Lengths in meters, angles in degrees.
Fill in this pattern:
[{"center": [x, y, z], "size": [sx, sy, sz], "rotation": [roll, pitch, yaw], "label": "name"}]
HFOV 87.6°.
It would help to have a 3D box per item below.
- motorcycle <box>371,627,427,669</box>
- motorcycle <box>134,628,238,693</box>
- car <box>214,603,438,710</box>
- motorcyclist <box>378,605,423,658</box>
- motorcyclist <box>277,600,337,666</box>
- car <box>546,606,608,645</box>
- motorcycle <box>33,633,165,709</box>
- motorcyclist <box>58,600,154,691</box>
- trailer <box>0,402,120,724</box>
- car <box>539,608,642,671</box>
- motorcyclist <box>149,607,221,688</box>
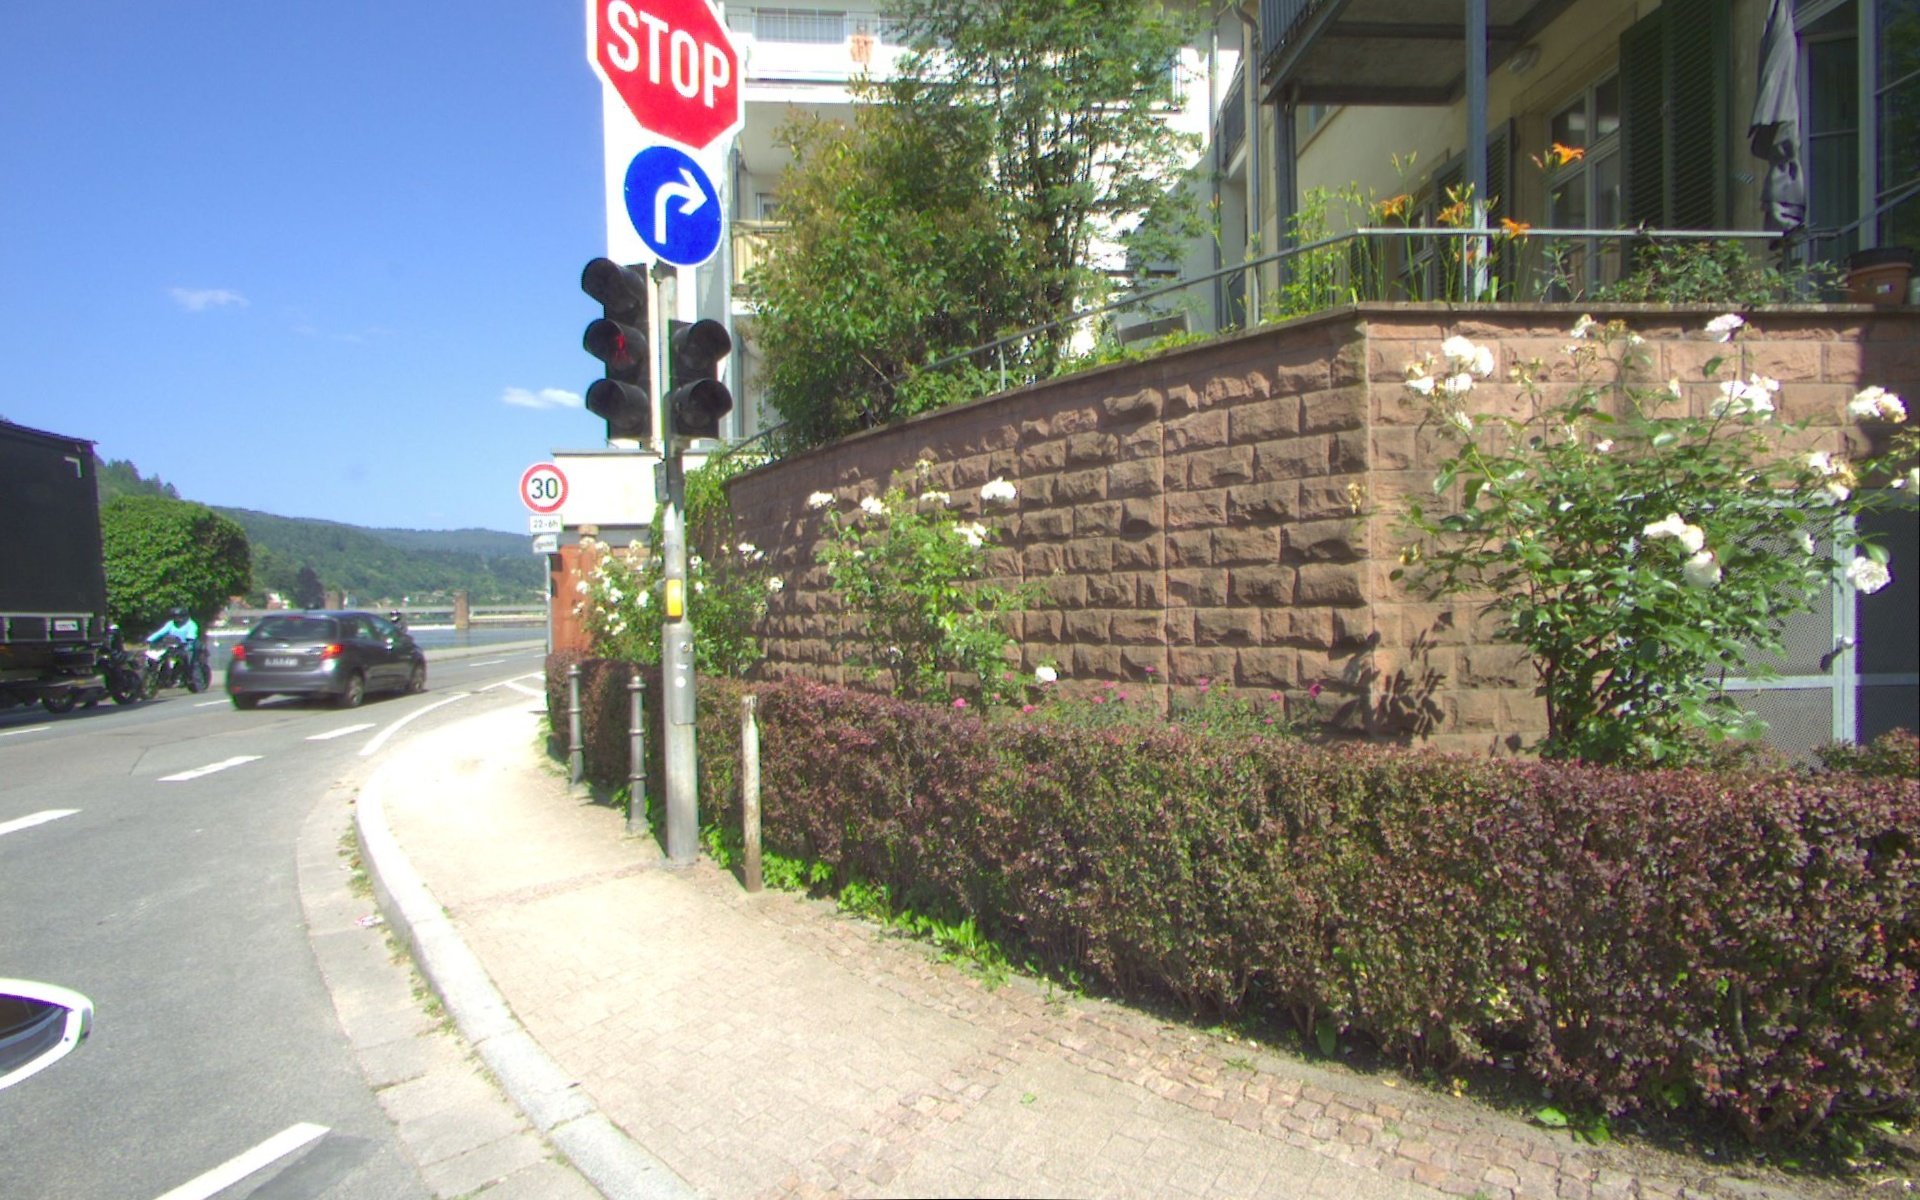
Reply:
[{"center": [-14.865, 1.253, 26.591], "size": [0.646, 1.038, 1.814], "rotation": [-1, 0, -8], "label": "motorcycle"}, {"center": [-15.298, 1.169, 19.865], "size": [0.623, 1.138, 2.092], "rotation": [-3, 0, -8], "label": "motorcycle"}, {"center": [-10.255, 0.841, 16.557], "size": [1.695, 1.518, 3.878], "rotation": [-1, 0, -9], "label": "car"}, {"center": [-14.856, 0.823, 26.604], "size": [0.706, 1.384, 0.936], "rotation": [-1, 0, -8], "label": "motorcyclist"}, {"center": [-14.032, 0.705, 21.537], "size": [0.774, 1.384, 0.800], "rotation": [-1, 0, -8], "label": "motorcyclist"}, {"center": [-17.285, 1.120, 45.384], "size": [1.739, 1.691, 3.773], "rotation": [0, 0, -6], "label": "car"}, {"center": [-14.627, 1.173, 17.090], "size": [0.623, 1.138, 2.092], "rotation": [-3, 0, -8], "label": "motorcycle"}, {"center": [-14.627, 0.766, 17.181], "size": [0.766, 1.479, 0.991], "rotation": [-3, 0, -8], "label": "motorcyclist"}, {"center": [-13.127, -0.457, 7.885], "size": [2.788, 4.158, 13.766], "rotation": [-3, 0, -7], "label": "trailer"}, {"center": [-8.939, 0.910, 24.518], "size": [1.661, 1.417, 3.737], "rotation": [0, -1, -9], "label": "car"}, {"center": [-15.289, 0.919, 19.771], "size": [0.653, 1.545, 0.991], "rotation": [-3, 1, -9], "label": "motorcyclist"}]
